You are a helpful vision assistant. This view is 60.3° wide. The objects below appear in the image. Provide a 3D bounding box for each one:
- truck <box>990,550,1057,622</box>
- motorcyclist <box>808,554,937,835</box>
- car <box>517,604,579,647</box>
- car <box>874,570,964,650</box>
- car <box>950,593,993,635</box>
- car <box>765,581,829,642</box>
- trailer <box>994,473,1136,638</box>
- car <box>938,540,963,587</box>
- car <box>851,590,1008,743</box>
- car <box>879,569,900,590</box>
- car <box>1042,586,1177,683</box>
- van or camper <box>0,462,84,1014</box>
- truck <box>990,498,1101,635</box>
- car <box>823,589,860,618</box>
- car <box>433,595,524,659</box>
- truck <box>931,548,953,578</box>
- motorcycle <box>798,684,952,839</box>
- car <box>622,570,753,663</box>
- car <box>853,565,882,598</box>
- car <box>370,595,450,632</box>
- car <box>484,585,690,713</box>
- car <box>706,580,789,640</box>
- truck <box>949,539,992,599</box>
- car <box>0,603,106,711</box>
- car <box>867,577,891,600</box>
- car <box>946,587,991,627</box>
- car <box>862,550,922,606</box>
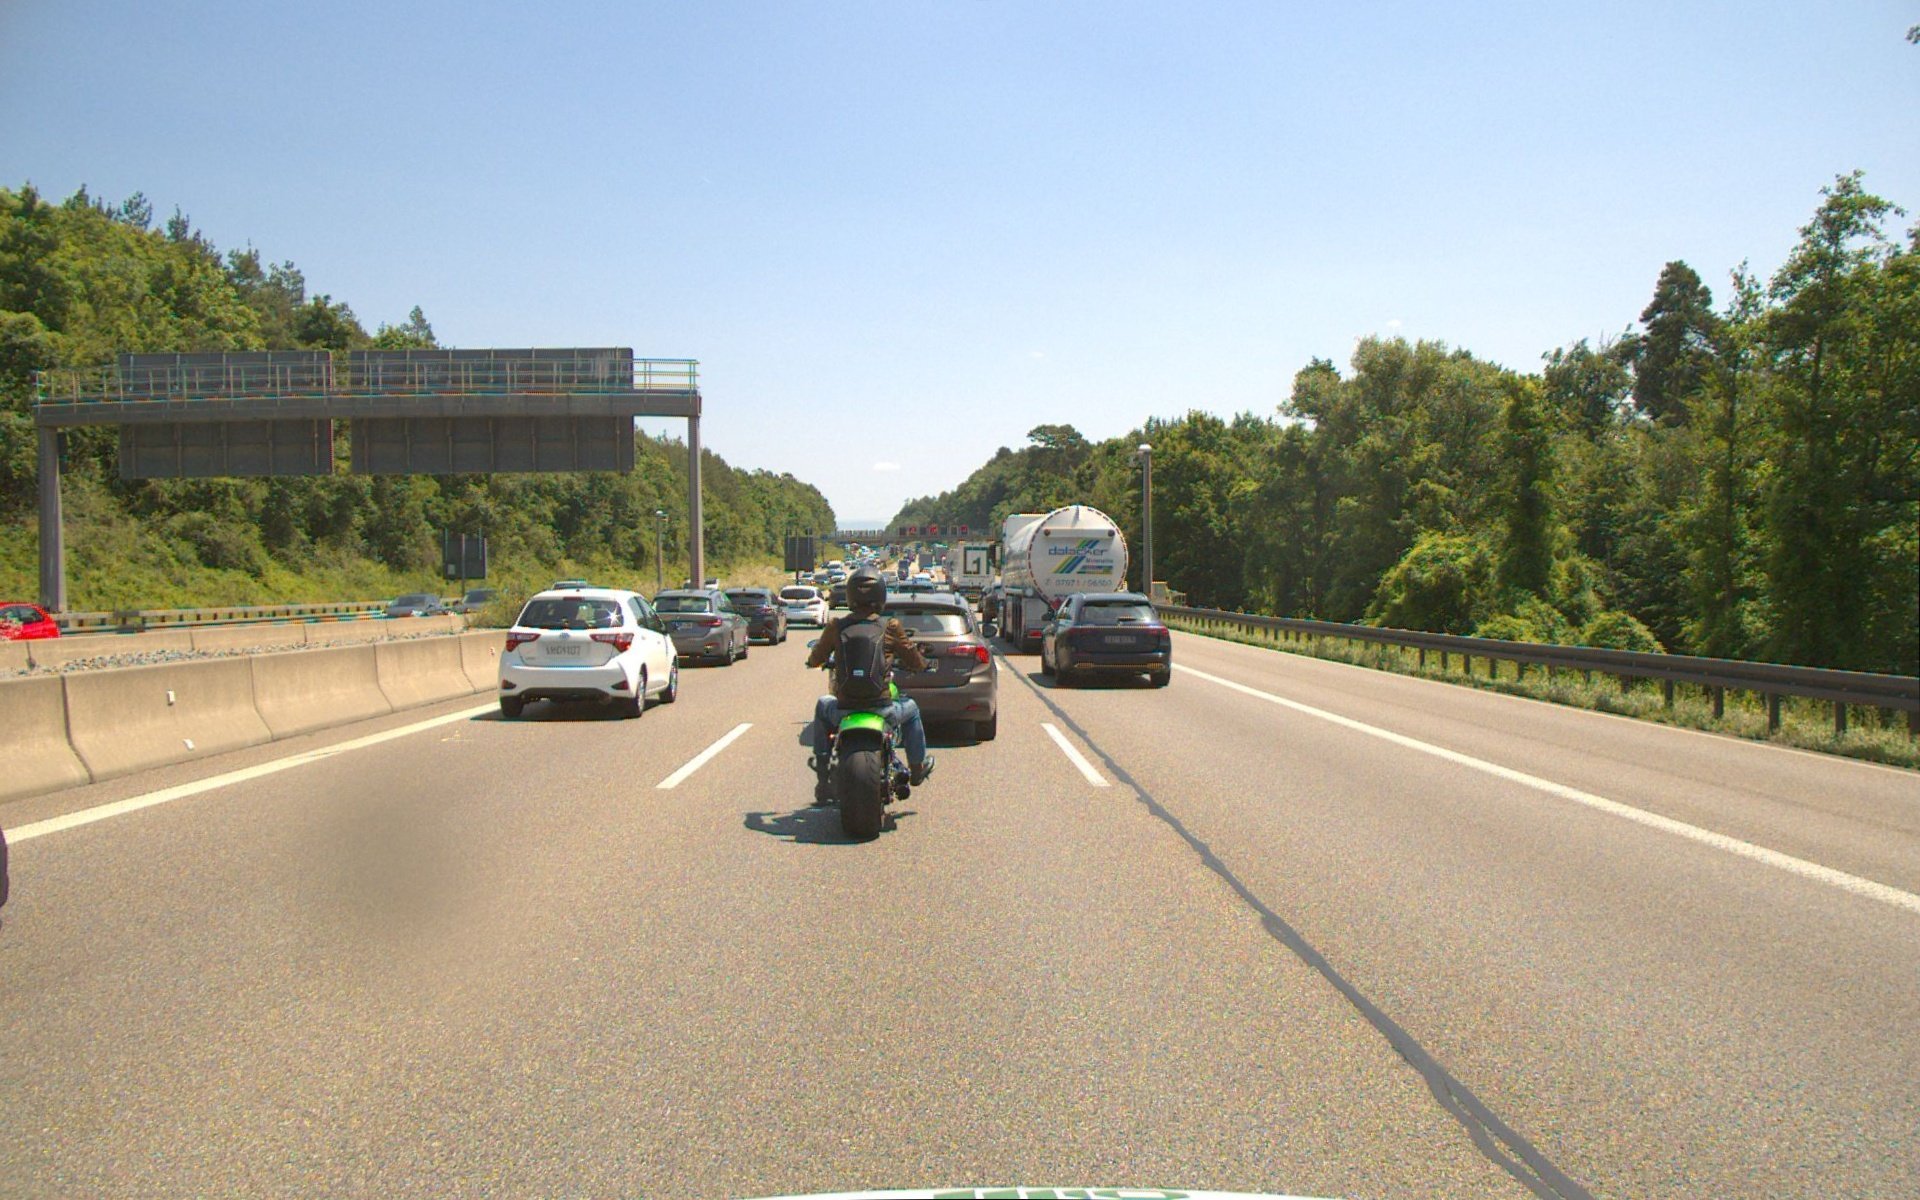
[{"bbox_3d":[2.749,-0.595,73.773,2.340,3.031,8.249,0,0,-2],"label":"truck"},{"bbox_3d":[-0.547,0.587,10.675,0.782,1.717,1.016,0,-1,-1],"label":"motorcyclist"},{"bbox_3d":[-20.183,1.255,81.155,1.953,2.049,4.282,0,-1,-1],"label":"car"},{"bbox_3d":[-0.966,0.246,38.285,1.953,1.741,3.998,0,-1,-2],"label":"car"},{"bbox_3d":[0.568,0.699,83.335,1.954,2.049,3.997,0,-1,-3],"label":"car"},{"bbox_3d":[-5.673,0.399,57.972,1.953,2.049,3.998,0,-1,-2],"label":"car"},{"bbox_3d":[2.509,-0.955,42.969,2.770,3.735,10.729,0,-1,-1],"label":"trailer"},{"bbox_3d":[-0.944,-3.275,151.477,2.123,3.961,9.327,0,-1,-1],"label":"car"},{"bbox_3d":[-0.331,0.639,18.031,1.509,1.475,3.999,0,0,-1],"label":"car"},{"bbox_3d":[-7.075,-2.082,165.963,1.953,2.049,3.999,-1,0,-1],"label":"car"},{"bbox_3d":[2.425,0.559,27.872,1.756,1.484,4.622,0,-1,-1],"label":"car"},{"bbox_3d":[-4.219,0.470,3.966,1.815,1.913,4.561,1,0,0],"label":"van or camper"},{"bbox_3d":[2.408,-0.893,48.571,2.770,3.735,6.427,0,-1,-1],"label":"truck"},{"bbox_3d":[-6.295,0.215,88.195,1.728,1.467,3.999,0,-1,-1],"label":"car"},{"bbox_3d":[-16.221,0.904,55.895,1.914,2.049,3.999,0,-1,-1],"label":"car"},{"bbox_3d":[-2.263,-4.583,207.658,2.641,3.465,10.475,-1,0,-1],"label":"truck"},{"bbox_3d":[-0.534,1.030,11.083,0.917,0.807,2.298,0,0,-1],"label":"motorcycle"},{"bbox_3d":[-5.329,0.332,32.882,1.953,1.713,4.328,0,-1,-1],"label":"car"},{"bbox_3d":[-5.824,-1.171,104.017,1.627,2.012,3.999,0,0,-1],"label":"car"},{"bbox_3d":[-22.554,0.559,67.960,1.953,1.473,3.999,0,-1,-1],"label":"car"},{"bbox_3d":[-4.556,0.578,20.755,1.740,1.435,3.999,0,-1,-1],"label":"car"},{"bbox_3d":[-5.536,0.284,43.493,1.954,1.490,3.996,1,-1,-5],"label":"car"},{"bbox_3d":[0.765,-2.084,114.388,2.794,3.888,7.188,0,-1,1],"label":"truck"},{"bbox_3d":[-19.142,1.090,33.248,1.953,2.049,3.998,0,-1,-2],"label":"car"},{"bbox_3d":[-5.827,-0.830,119.142,1.627,1.627,3.999,0,0,-1],"label":"car"},{"bbox_3d":[0.320,0.311,67.130,1.740,1.554,3.999,0,-1,-1],"label":"car"},{"bbox_3d":[-2.325,-0.714,56.928,1.953,1.806,3.998,0,-1,-2],"label":"car"}]
